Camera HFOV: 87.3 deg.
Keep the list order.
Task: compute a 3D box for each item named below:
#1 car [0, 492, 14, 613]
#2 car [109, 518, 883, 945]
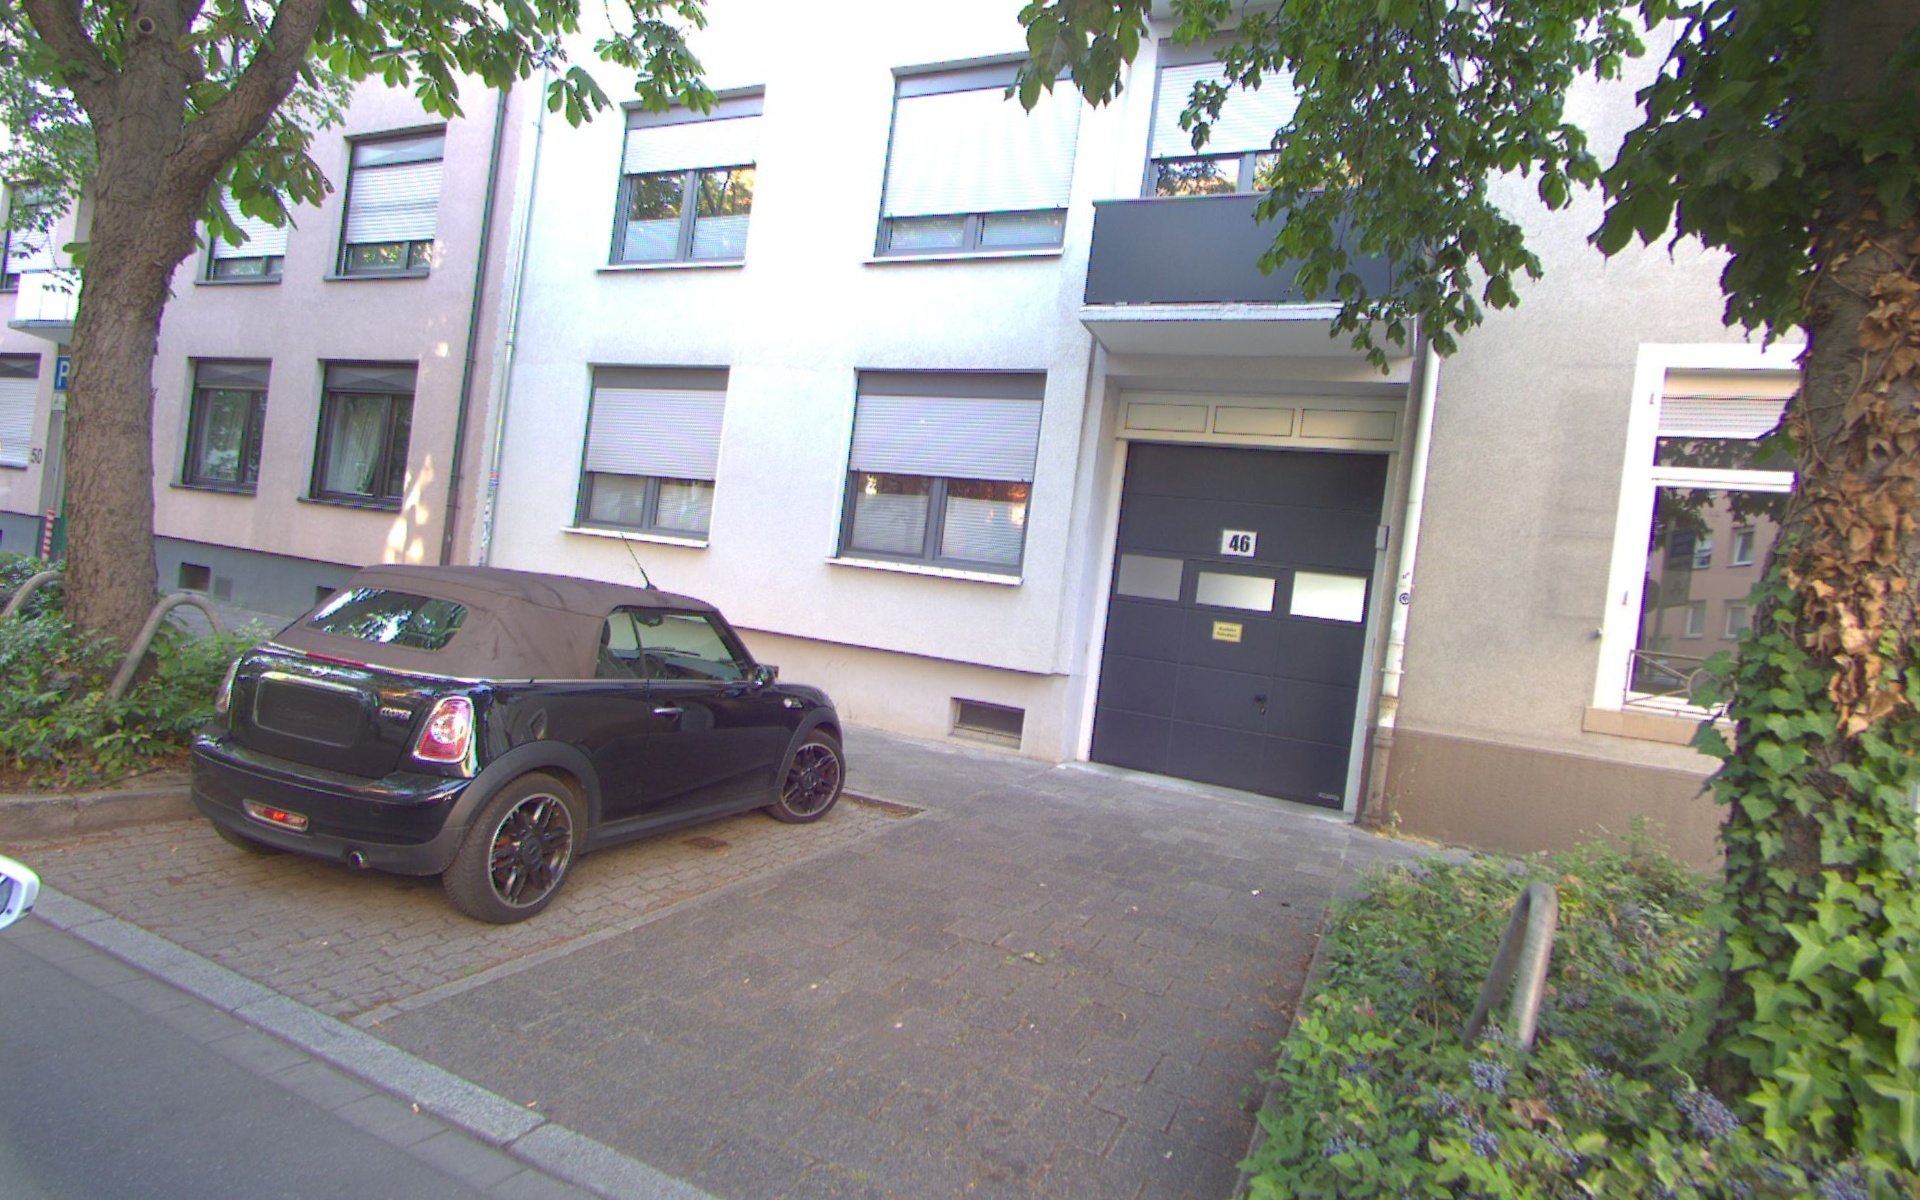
[{"bbox_3d":[-13.355,-0.803,11.038,1.634,1.494,3.921,7,-1,24],"label":"car"},{"bbox_3d":[-2.024,0.551,5.528,1.634,1.380,3.622,7,-1,22],"label":"car"}]
